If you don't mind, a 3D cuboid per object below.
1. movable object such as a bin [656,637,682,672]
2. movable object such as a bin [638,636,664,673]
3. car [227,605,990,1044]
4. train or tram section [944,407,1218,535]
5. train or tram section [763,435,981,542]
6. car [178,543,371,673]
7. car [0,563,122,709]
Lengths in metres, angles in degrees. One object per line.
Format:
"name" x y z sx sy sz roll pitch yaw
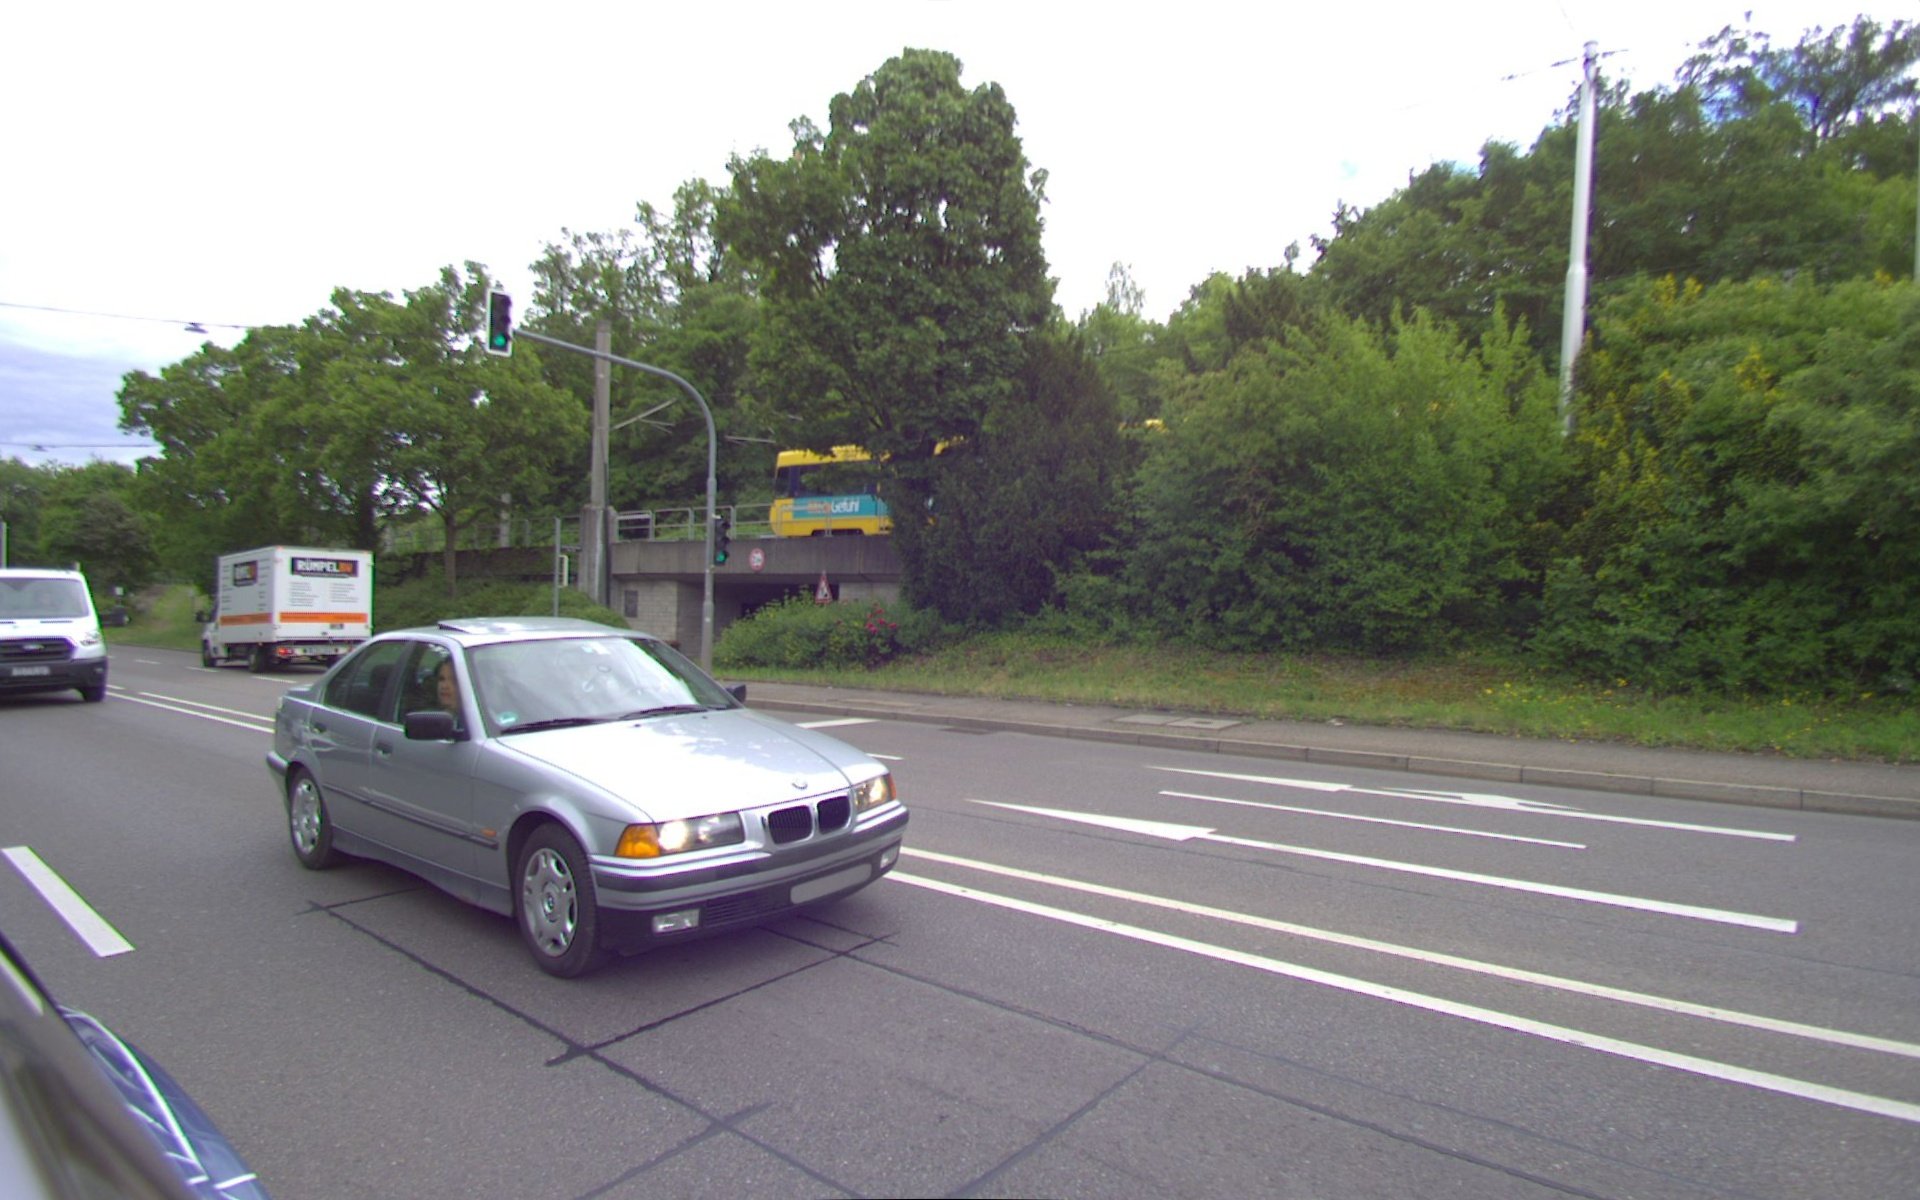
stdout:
"movable object such as a bin" -9.150 1.718 31.798 0.563 1.085 0.537 -1 -3 39
"movable object such as a bin" -9.529 1.677 31.200 0.563 1.107 0.537 -1 -3 39
"car" -2.176 0.751 5.406 4.611 1.404 1.735 -1 -1 40
"train or tram section" 3.369 -3.624 29.985 8.136 3.066 2.039 1 1 36
"train or tram section" -3.195 -3.656 34.816 8.136 3.066 2.039 1 1 36
"car" -18.483 0.224 27.102 7.227 3.079 2.248 -1 0 39
"car" -16.440 0.553 17.085 6.661 2.142 2.225 -1 0 39
